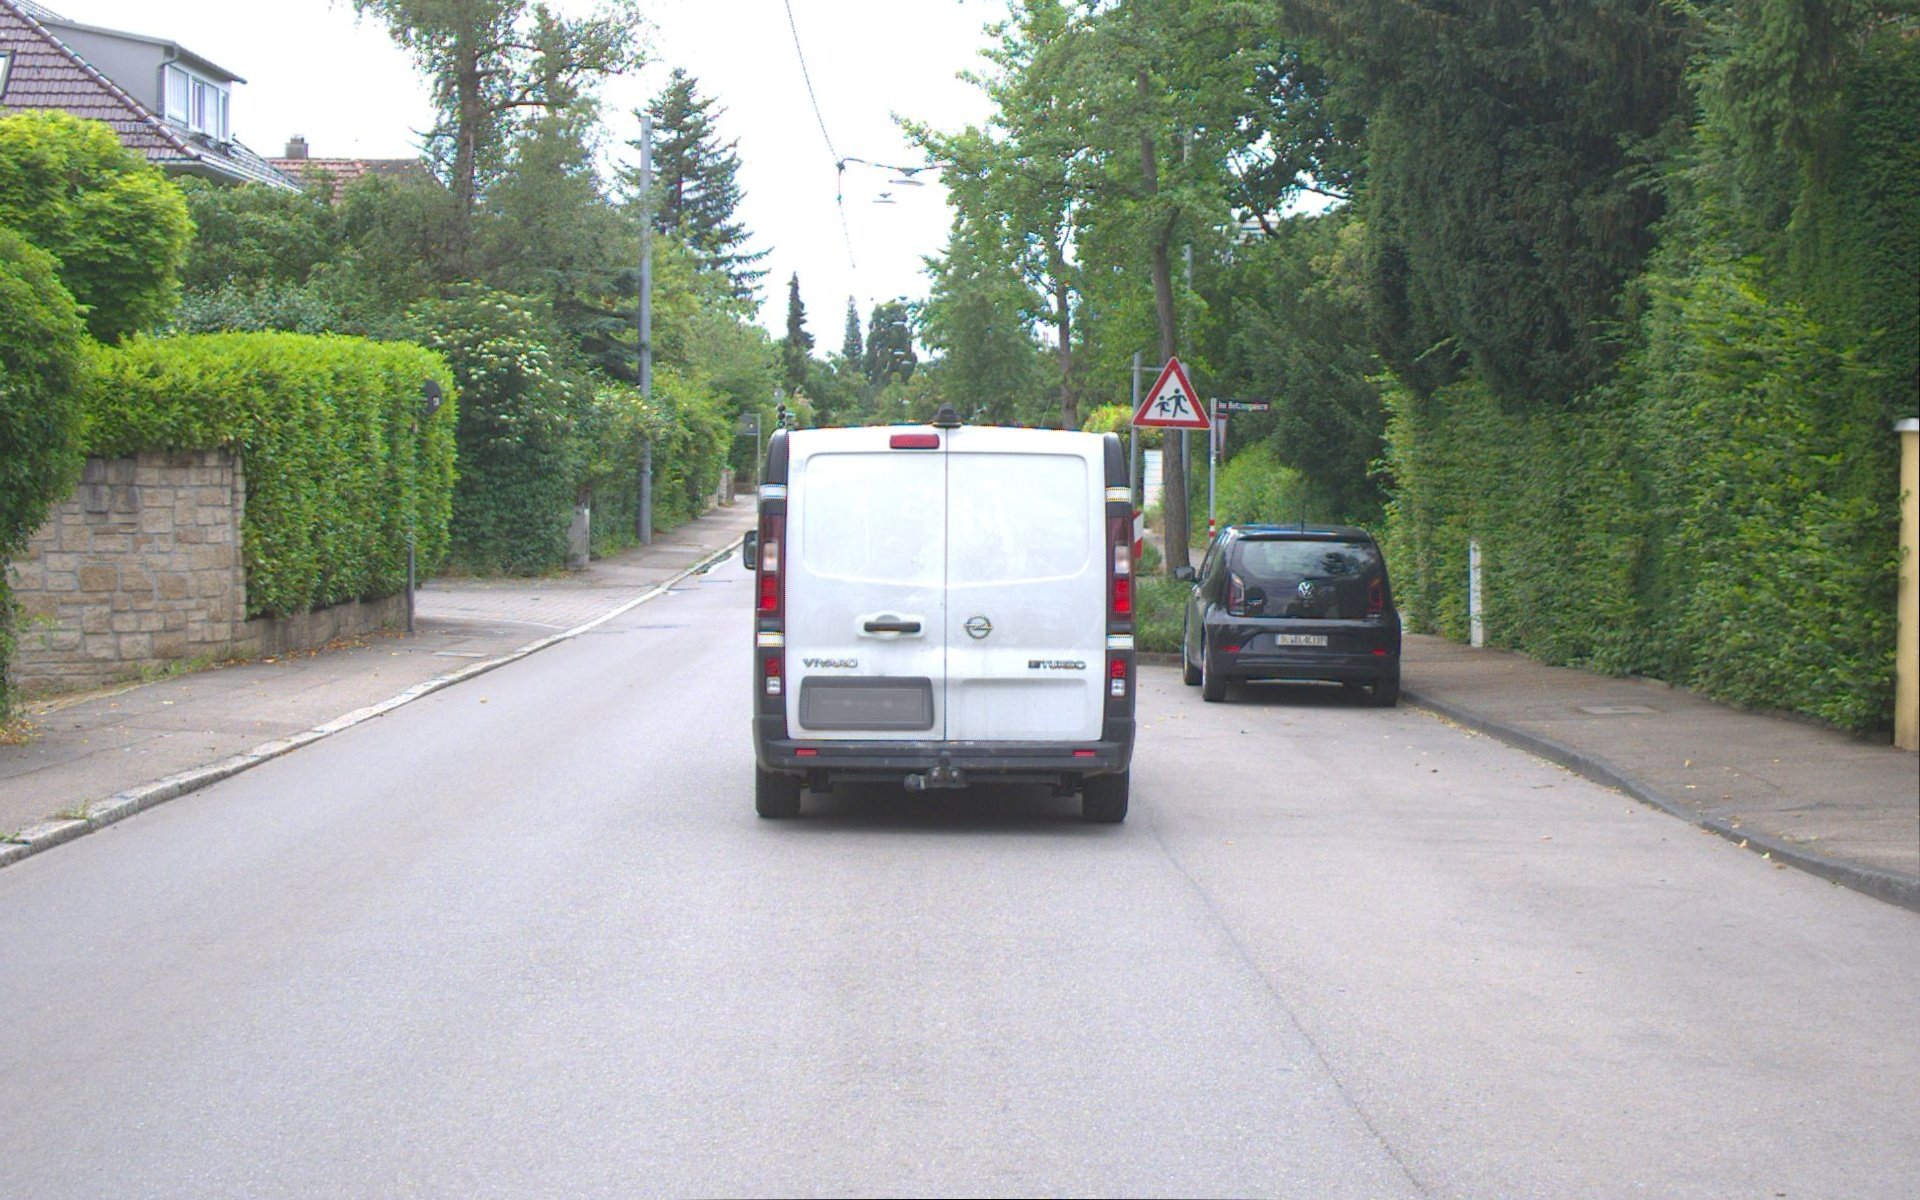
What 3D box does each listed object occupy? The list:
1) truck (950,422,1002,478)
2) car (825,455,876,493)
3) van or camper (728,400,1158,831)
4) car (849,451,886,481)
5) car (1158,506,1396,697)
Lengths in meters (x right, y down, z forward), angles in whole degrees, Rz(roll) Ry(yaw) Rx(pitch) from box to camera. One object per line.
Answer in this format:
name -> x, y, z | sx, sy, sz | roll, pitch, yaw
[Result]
truck -> 0.713, -6.966, 159.564 | 2.187, 2.463, 7.432 | 2, 3, -1
car -> -4.467, -5.165, 140.829 | 1.805, 1.426, 4.301 | -2, 3, 1
van or camper -> -0.137, 0.008, 18.351 | 1.939, 1.947, 4.766 | 2, 2, -1
car -> -4.584, -6.655, 170.543 | 1.805, 1.426, 4.119 | -1, 2, -2
car -> 2.654, -0.035, 29.487 | 1.623, 1.468, 3.741 | 1, 2, -1
